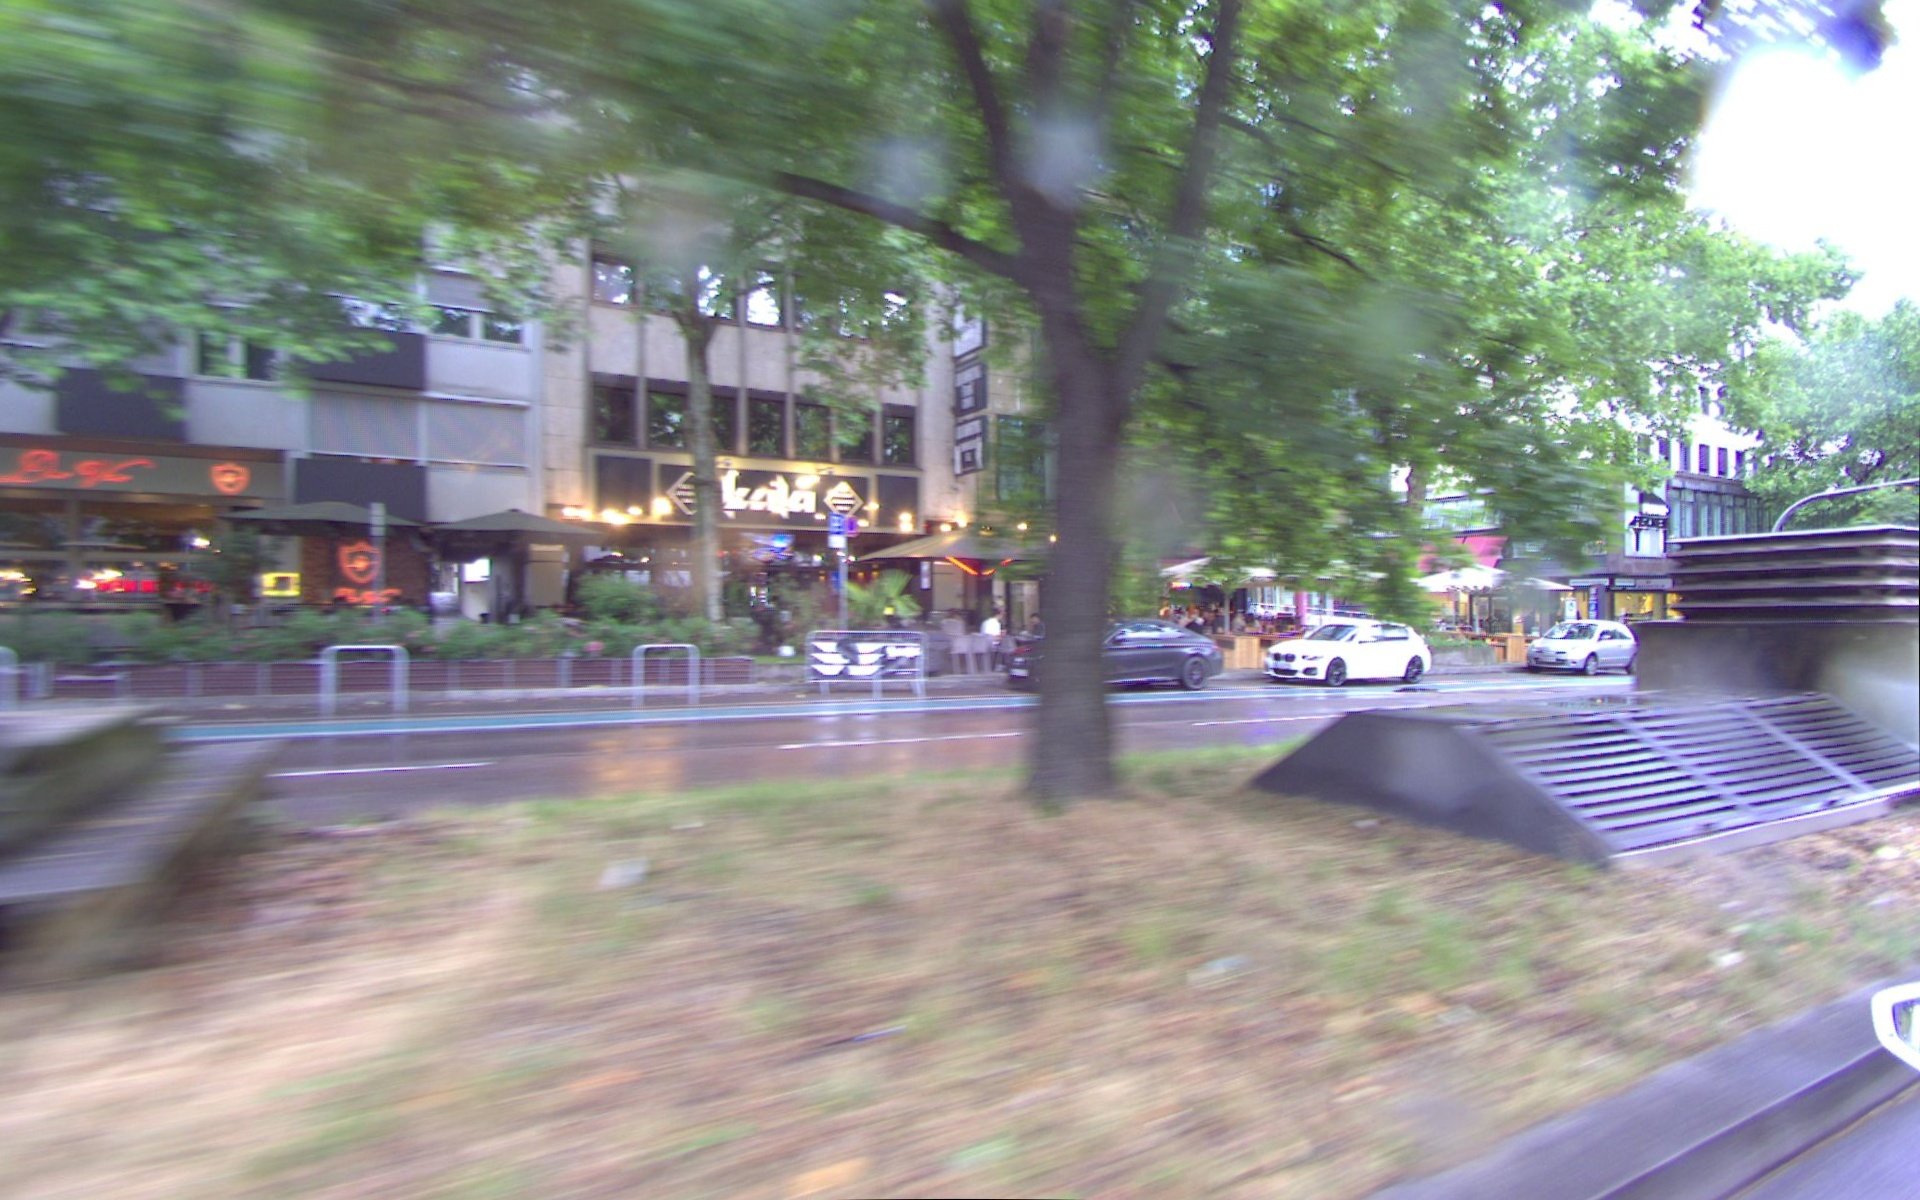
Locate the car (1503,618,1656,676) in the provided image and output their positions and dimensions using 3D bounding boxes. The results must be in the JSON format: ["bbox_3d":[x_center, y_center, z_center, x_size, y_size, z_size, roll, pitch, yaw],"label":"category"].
[{"bbox_3d":[17.695,1.293,28.637,4.468,1.529,1.983,1,-1,-32],"label":"car"}]

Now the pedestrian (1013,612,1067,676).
[{"bbox_3d":[1.807,0.979,22.710,0.923,1.398,0.759,1,0,-33],"label":"pedestrian"}]

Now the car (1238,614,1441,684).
[{"bbox_3d":[8.804,1.077,23.227,4.486,1.388,1.984,1,2,-30],"label":"car"}]

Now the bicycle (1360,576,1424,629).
[{"bbox_3d":[17.036,0.108,39.659,0.682,2.040,2.374,1,-1,-31],"label":"bicycle"}]

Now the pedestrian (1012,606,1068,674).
[{"bbox_3d":[1.809,0.891,22.716,0.963,1.508,0.824,1,0,-33],"label":"pedestrian"}]

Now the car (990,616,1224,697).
[{"bbox_3d":[2.953,1.067,19.903,4.430,1.413,1.816,1,0,-30],"label":"car"}]
